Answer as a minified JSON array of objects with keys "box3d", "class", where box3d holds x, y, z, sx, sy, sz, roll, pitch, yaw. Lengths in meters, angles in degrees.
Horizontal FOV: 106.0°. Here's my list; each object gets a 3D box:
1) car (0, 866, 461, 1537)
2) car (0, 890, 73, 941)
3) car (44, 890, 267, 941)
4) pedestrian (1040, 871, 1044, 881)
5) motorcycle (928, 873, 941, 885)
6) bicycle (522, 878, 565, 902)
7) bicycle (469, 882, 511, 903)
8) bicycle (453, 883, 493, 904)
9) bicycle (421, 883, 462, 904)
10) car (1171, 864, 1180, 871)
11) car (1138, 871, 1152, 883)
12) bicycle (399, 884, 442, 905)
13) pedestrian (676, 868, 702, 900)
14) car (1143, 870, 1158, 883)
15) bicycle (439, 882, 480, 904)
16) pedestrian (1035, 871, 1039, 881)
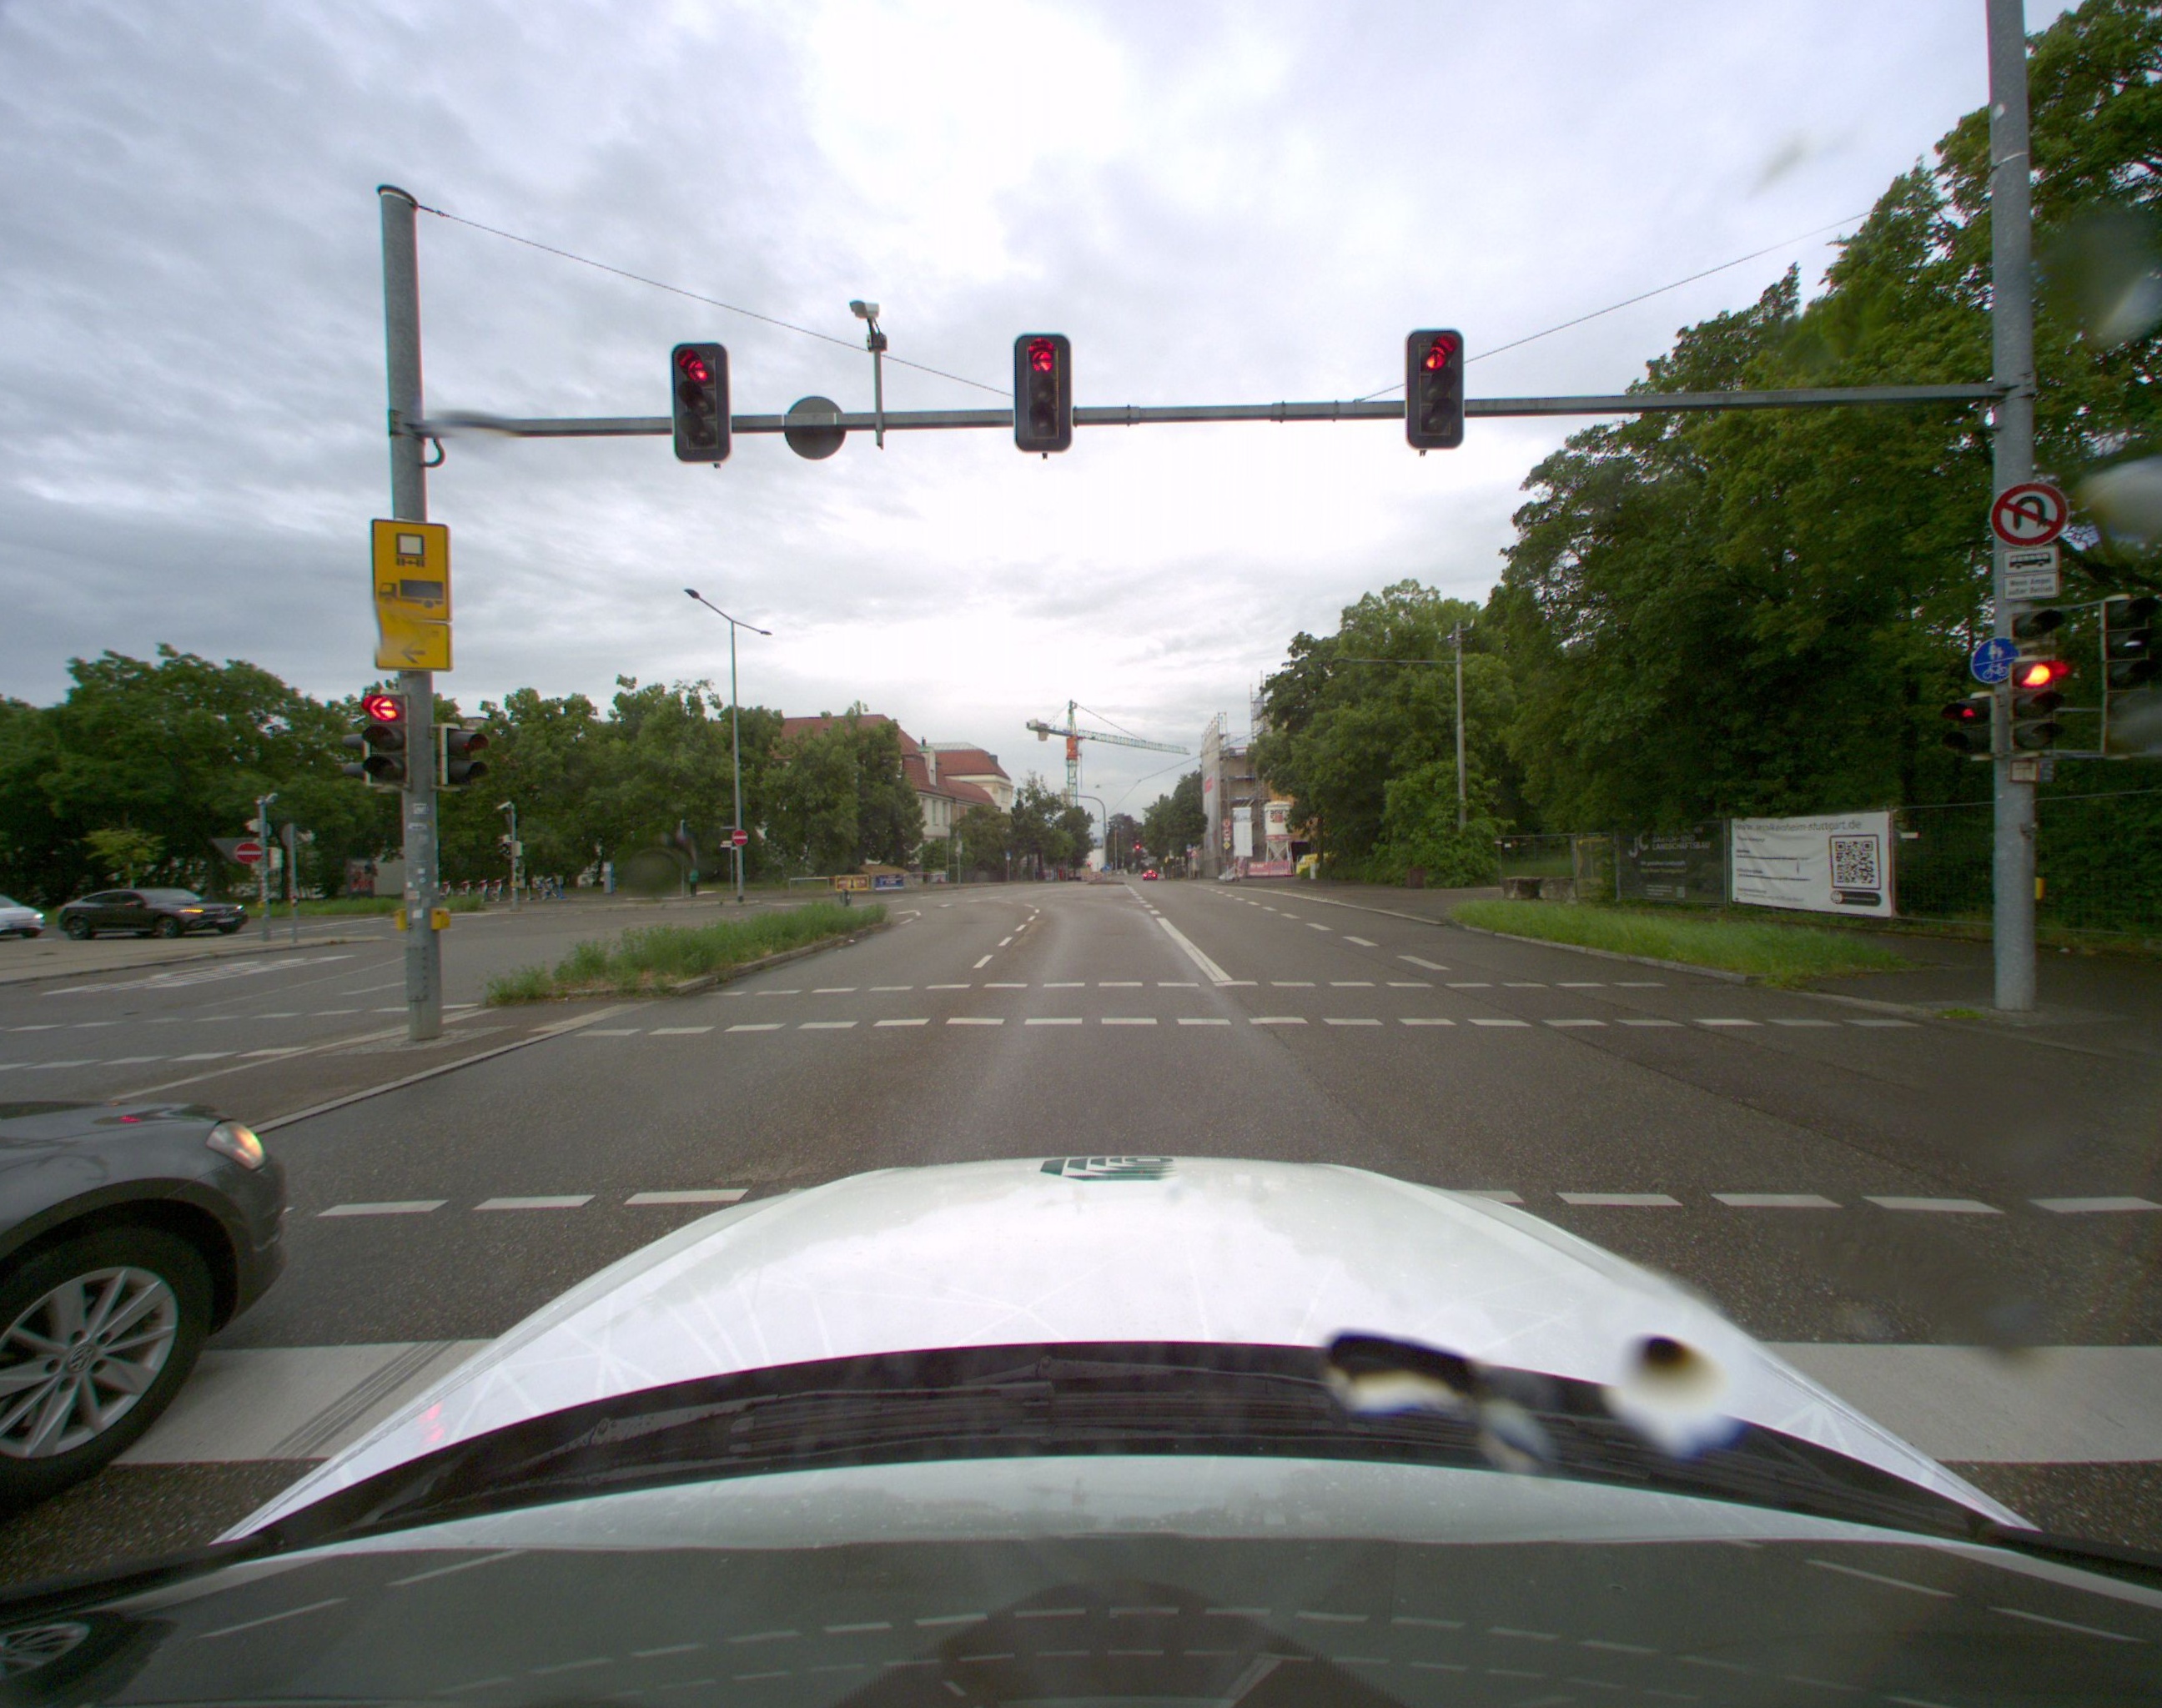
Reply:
[{"box3d":[-3.383,0.807,0.928,1.808,1.481,4.380,-2,0,3],"class":"car"},{"box3d":[-36.500,2.036,27.048,3.539,1.594,2.001,0,-1,1],"class":"car"},{"box3d":[-30.079,1.985,26.583,5.006,1.500,2.001,0,-1,1],"class":"car"},{"box3d":[-5.247,2.965,109.606,0.473,1.396,0.411,-2,-1,1],"class":"pedestrian"},{"box3d":[-11.747,2.001,65.306,0.846,0.877,0.877,0,-1,1],"class":"motorcycle"},{"box3d":[-29.439,1.942,44.613,0.987,1.249,1.982,0,-1,2],"class":"bicycle"},{"box3d":[-32.272,2.068,44.504,0.798,1.071,1.982,0,-1,2],"class":"bicycle"},{"box3d":[-33.022,2.119,44.272,0.649,1.071,1.982,0,-1,2],"class":"bicycle"},{"box3d":[-34.990,2.143,44.578,0.649,1.071,1.982,0,-1,2],"class":"bicycle"},{"box3d":[25.408,3.527,218.958,1.980,1.750,4.014,-2,0,13],"class":"car"},{"box3d":[10.188,3.671,130.660,1.986,1.750,4.001,-2,0,1],"class":"car"},{"box3d":[-35.968,2.178,44.363,0.649,1.071,1.982,0,-1,2],"class":"bicycle"},{"box3d":[-21.618,1.633,44.894,0.918,1.727,0.947,0,-1,5],"class":"pedestrian"},{"box3d":[10.413,3.416,122.284,1.986,1.750,4.001,-2,0,1],"class":"car"},{"box3d":[-33.911,2.115,44.447,0.649,1.071,1.982,0,-1,2],"class":"bicycle"},{"box3d":[-5.886,2.954,109.666,0.473,1.396,0.411,-2,-1,1],"class":"pedestrian"}]
